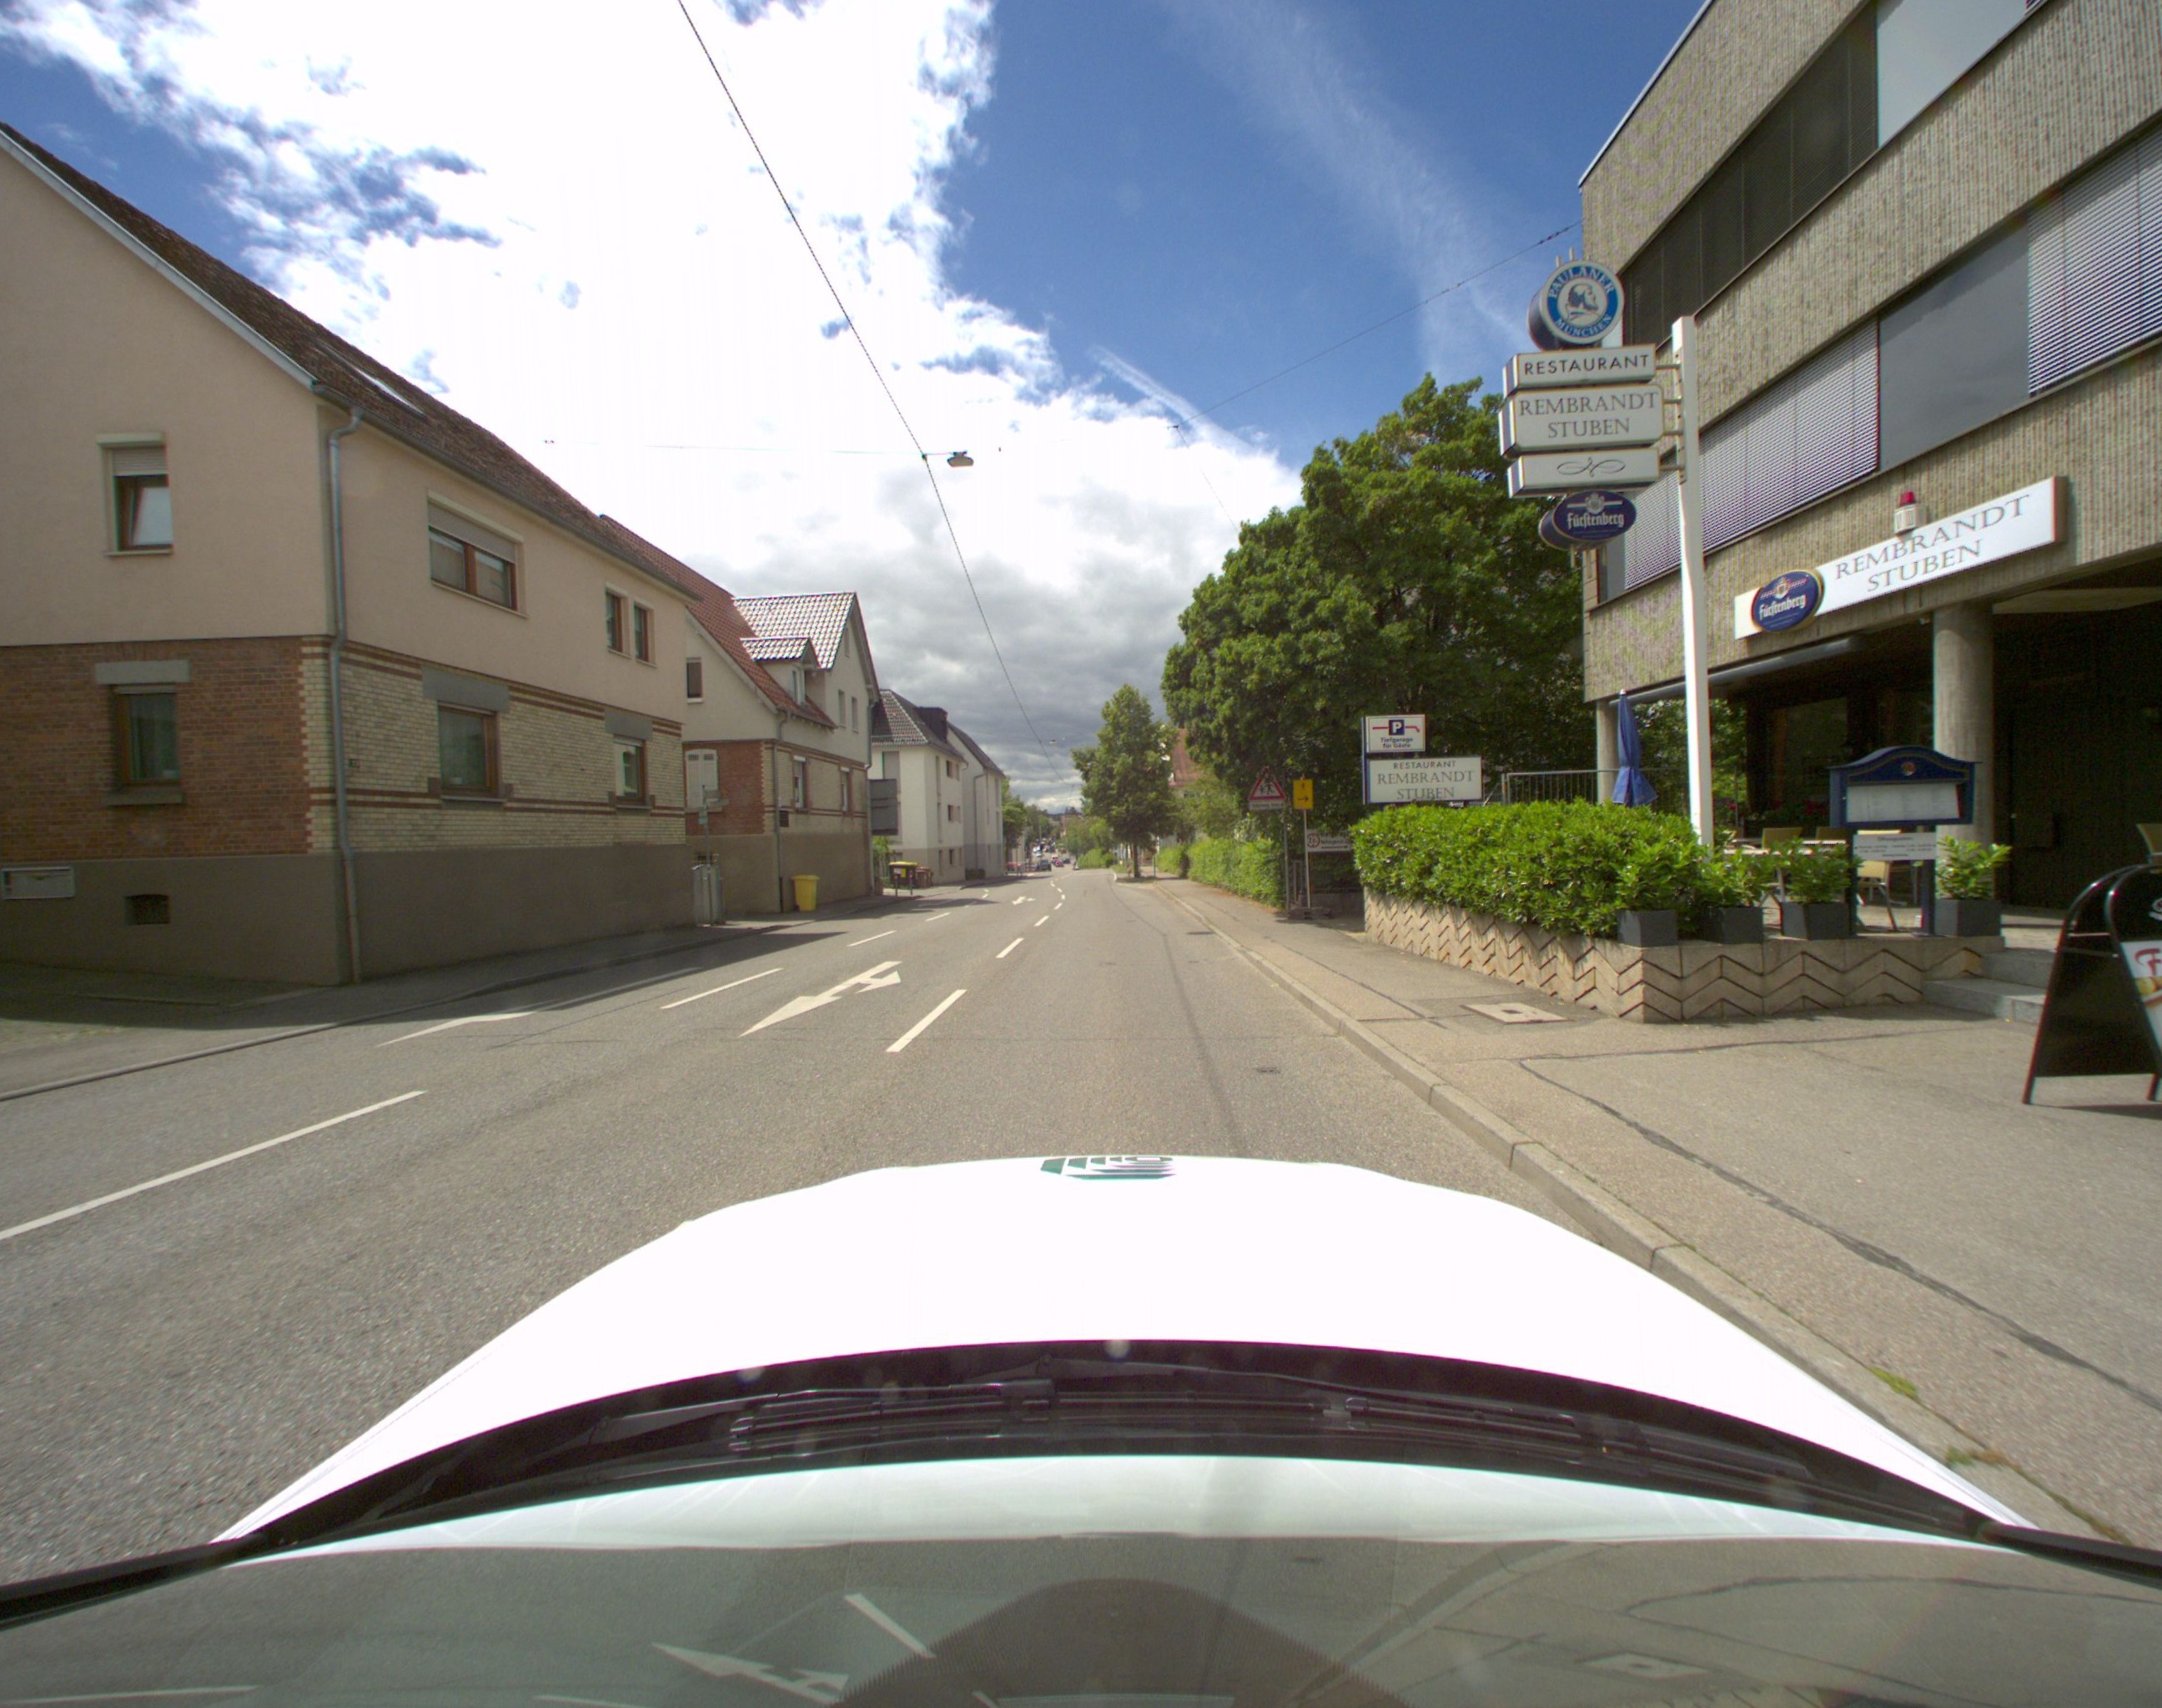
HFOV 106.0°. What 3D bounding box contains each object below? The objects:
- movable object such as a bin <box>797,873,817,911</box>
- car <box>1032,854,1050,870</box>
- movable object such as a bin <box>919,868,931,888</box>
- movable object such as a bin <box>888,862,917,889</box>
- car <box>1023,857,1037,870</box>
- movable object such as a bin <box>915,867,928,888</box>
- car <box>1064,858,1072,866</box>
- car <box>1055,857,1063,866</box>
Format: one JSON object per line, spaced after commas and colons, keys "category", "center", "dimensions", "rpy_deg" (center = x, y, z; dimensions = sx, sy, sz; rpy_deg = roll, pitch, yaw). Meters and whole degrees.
{"category": "movable object such as a bin", "center": [-8.346, 1.144, 24.809], "dimensions": [0.430, 1.128, 0.299], "rpy_deg": [-3, 0, 0]}
{"category": "car", "center": [-5.318, 1.005, 107.290], "dimensions": [1.992, 2.013, 3.990], "rpy_deg": [-2, 0, -7]}
{"category": "movable object such as a bin", "center": [-8.150, 1.262, 42.607], "dimensions": [0.530, 1.030, 0.455], "rpy_deg": [-2, 0, 0]}
{"category": "movable object such as a bin", "center": [-8.933, 1.086, 40.854], "dimensions": [1.278, 1.310, 0.815], "rpy_deg": [-2, 0, -4]}
{"category": "car", "center": [-8.395, 1.533, 132.592], "dimensions": [1.992, 2.013, 3.990], "rpy_deg": [-2, 0, -7]}
{"category": "movable object such as a bin", "center": [-8.215, 1.221, 41.898], "dimensions": [0.530, 1.030, 0.455], "rpy_deg": [-2, 0, 0]}
{"category": "car", "center": [-3.309, 2.090, 210.430], "dimensions": [1.988, 2.014, 3.996], "rpy_deg": [-2, -1, -2]}
{"category": "car", "center": [-5.271, 1.772, 194.768], "dimensions": [1.988, 2.014, 3.996], "rpy_deg": [-2, -1, -2]}
